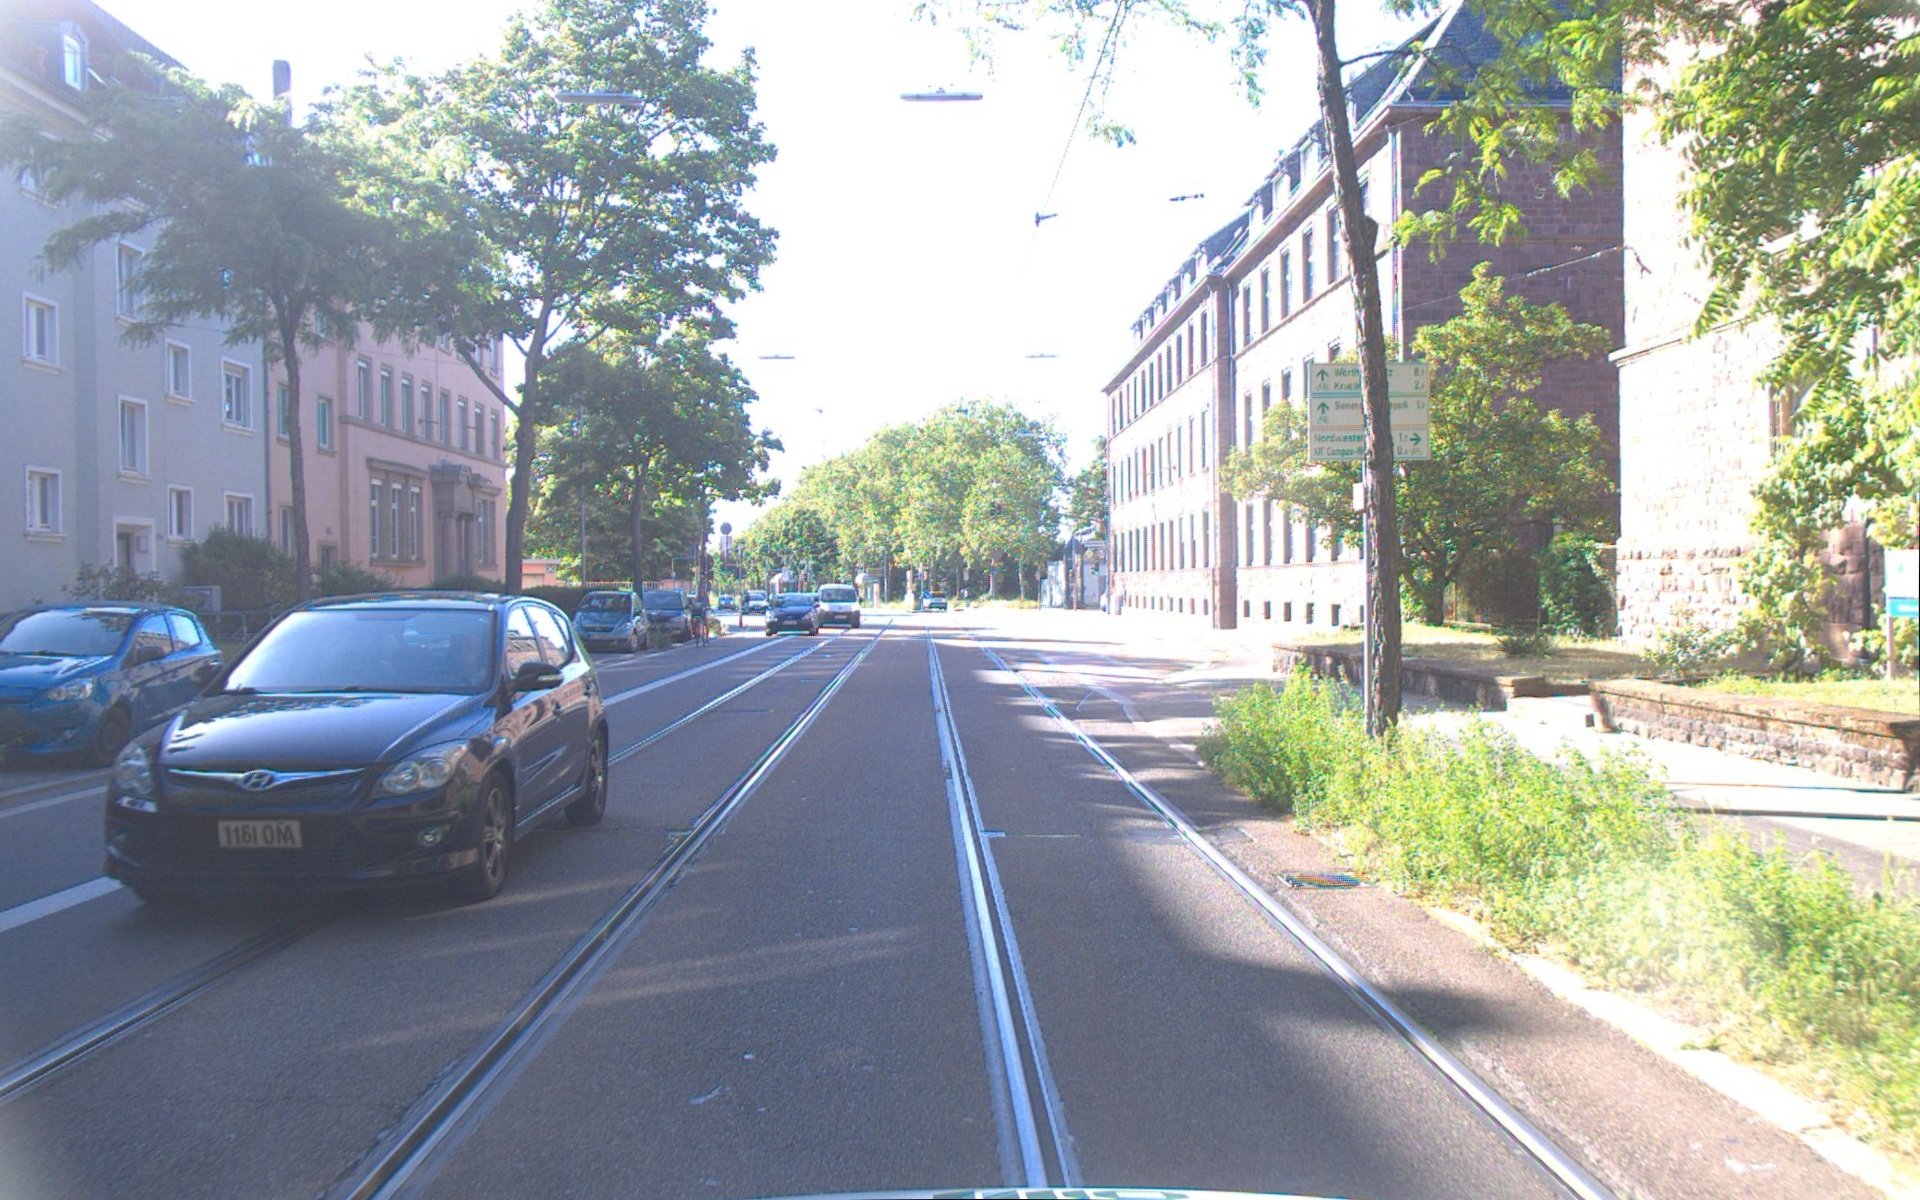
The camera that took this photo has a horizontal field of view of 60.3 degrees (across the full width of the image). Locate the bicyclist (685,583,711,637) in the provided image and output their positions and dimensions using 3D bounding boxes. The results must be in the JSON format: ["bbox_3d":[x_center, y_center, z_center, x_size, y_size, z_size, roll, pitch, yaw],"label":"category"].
[{"bbox_3d":[-7.367,0.282,46.543,0.547,1.482,0.868,-4,0,-4],"label":"bicyclist"}]

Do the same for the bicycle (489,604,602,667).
[{"bbox_3d":[-8.765,0.738,35.003,2.236,1.219,0.560,2,1,5],"label":"bicycle"}]

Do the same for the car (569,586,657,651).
[{"bbox_3d":[-9.312,0.460,44.619,1.711,1.597,4.066,2,0,-4],"label":"car"}]

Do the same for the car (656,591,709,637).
[{"bbox_3d":[-9.709,0.459,58.082,1.551,1.514,3.608,2,0,-6],"label":"car"}]

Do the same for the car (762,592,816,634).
[{"bbox_3d":[-5.939,0.428,57.444,1.775,1.411,4.435,0,0,-6],"label":"car"}]

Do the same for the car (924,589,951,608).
[{"bbox_3d":[-1.945,-0.157,141.694,1.905,1.638,3.994,0,0,-7],"label":"car"}]

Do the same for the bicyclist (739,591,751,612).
[{"bbox_3d":[-15.422,0.099,118.472,0.737,1.530,0.960,0,0,-17],"label":"bicyclist"}]

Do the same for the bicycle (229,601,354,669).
[{"bbox_3d":[-13.117,0.674,32.455,2.236,1.219,0.560,2,1,5],"label":"bicycle"}]

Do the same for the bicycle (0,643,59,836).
[{"bbox_3d":[-6.435,0.915,10.210,0.680,1.198,1.912,-3,0,-1],"label":"bicycle"}]

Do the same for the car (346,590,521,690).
[{"bbox_3d":[-8.852,0.617,28.165,1.710,1.516,4.321,2,0,-3],"label":"car"}]

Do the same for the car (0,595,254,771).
[{"bbox_3d":[-8.578,0.726,16.508,1.529,1.482,3.928,2,0,-4],"label":"car"}]

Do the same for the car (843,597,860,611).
[{"bbox_3d":[-13.309,0.454,202.121,1.905,1.638,3.994,0,0,-7],"label":"car"}]

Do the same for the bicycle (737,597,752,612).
[{"bbox_3d":[-15.433,0.307,118.507,0.737,1.106,2.167,0,0,-16],"label":"bicycle"}]

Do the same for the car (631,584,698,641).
[{"bbox_3d":[-9.442,0.356,53.148,1.712,1.689,4.385,2,0,-6],"label":"car"}]

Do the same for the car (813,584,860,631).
[{"bbox_3d":[-5.169,0.282,69.712,1.773,1.921,4.439,0,0,-1],"label":"car"}]

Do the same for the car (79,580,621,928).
[{"bbox_3d":[-3.053,0.652,9.199,1.665,1.497,4.069,0,0,-3],"label":"car"}]

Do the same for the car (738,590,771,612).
[{"bbox_3d":[-15.207,0.069,122.155,1.960,1.531,3.984,0,0,-15],"label":"car"}]

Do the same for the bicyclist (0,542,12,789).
[{"bbox_3d":[-6.458,0.402,10.169,0.695,1.635,0.865,-3,0,-2],"label":"bicyclist"}]

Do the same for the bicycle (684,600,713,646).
[{"bbox_3d":[-7.343,0.624,46.533,0.547,1.219,2.290,-4,1,-4],"label":"bicycle"}]

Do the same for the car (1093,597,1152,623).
[{"bbox_3d":[10.725,0.647,109.555,3.507,1.684,1.838,0,0,-14],"label":"car"}]
